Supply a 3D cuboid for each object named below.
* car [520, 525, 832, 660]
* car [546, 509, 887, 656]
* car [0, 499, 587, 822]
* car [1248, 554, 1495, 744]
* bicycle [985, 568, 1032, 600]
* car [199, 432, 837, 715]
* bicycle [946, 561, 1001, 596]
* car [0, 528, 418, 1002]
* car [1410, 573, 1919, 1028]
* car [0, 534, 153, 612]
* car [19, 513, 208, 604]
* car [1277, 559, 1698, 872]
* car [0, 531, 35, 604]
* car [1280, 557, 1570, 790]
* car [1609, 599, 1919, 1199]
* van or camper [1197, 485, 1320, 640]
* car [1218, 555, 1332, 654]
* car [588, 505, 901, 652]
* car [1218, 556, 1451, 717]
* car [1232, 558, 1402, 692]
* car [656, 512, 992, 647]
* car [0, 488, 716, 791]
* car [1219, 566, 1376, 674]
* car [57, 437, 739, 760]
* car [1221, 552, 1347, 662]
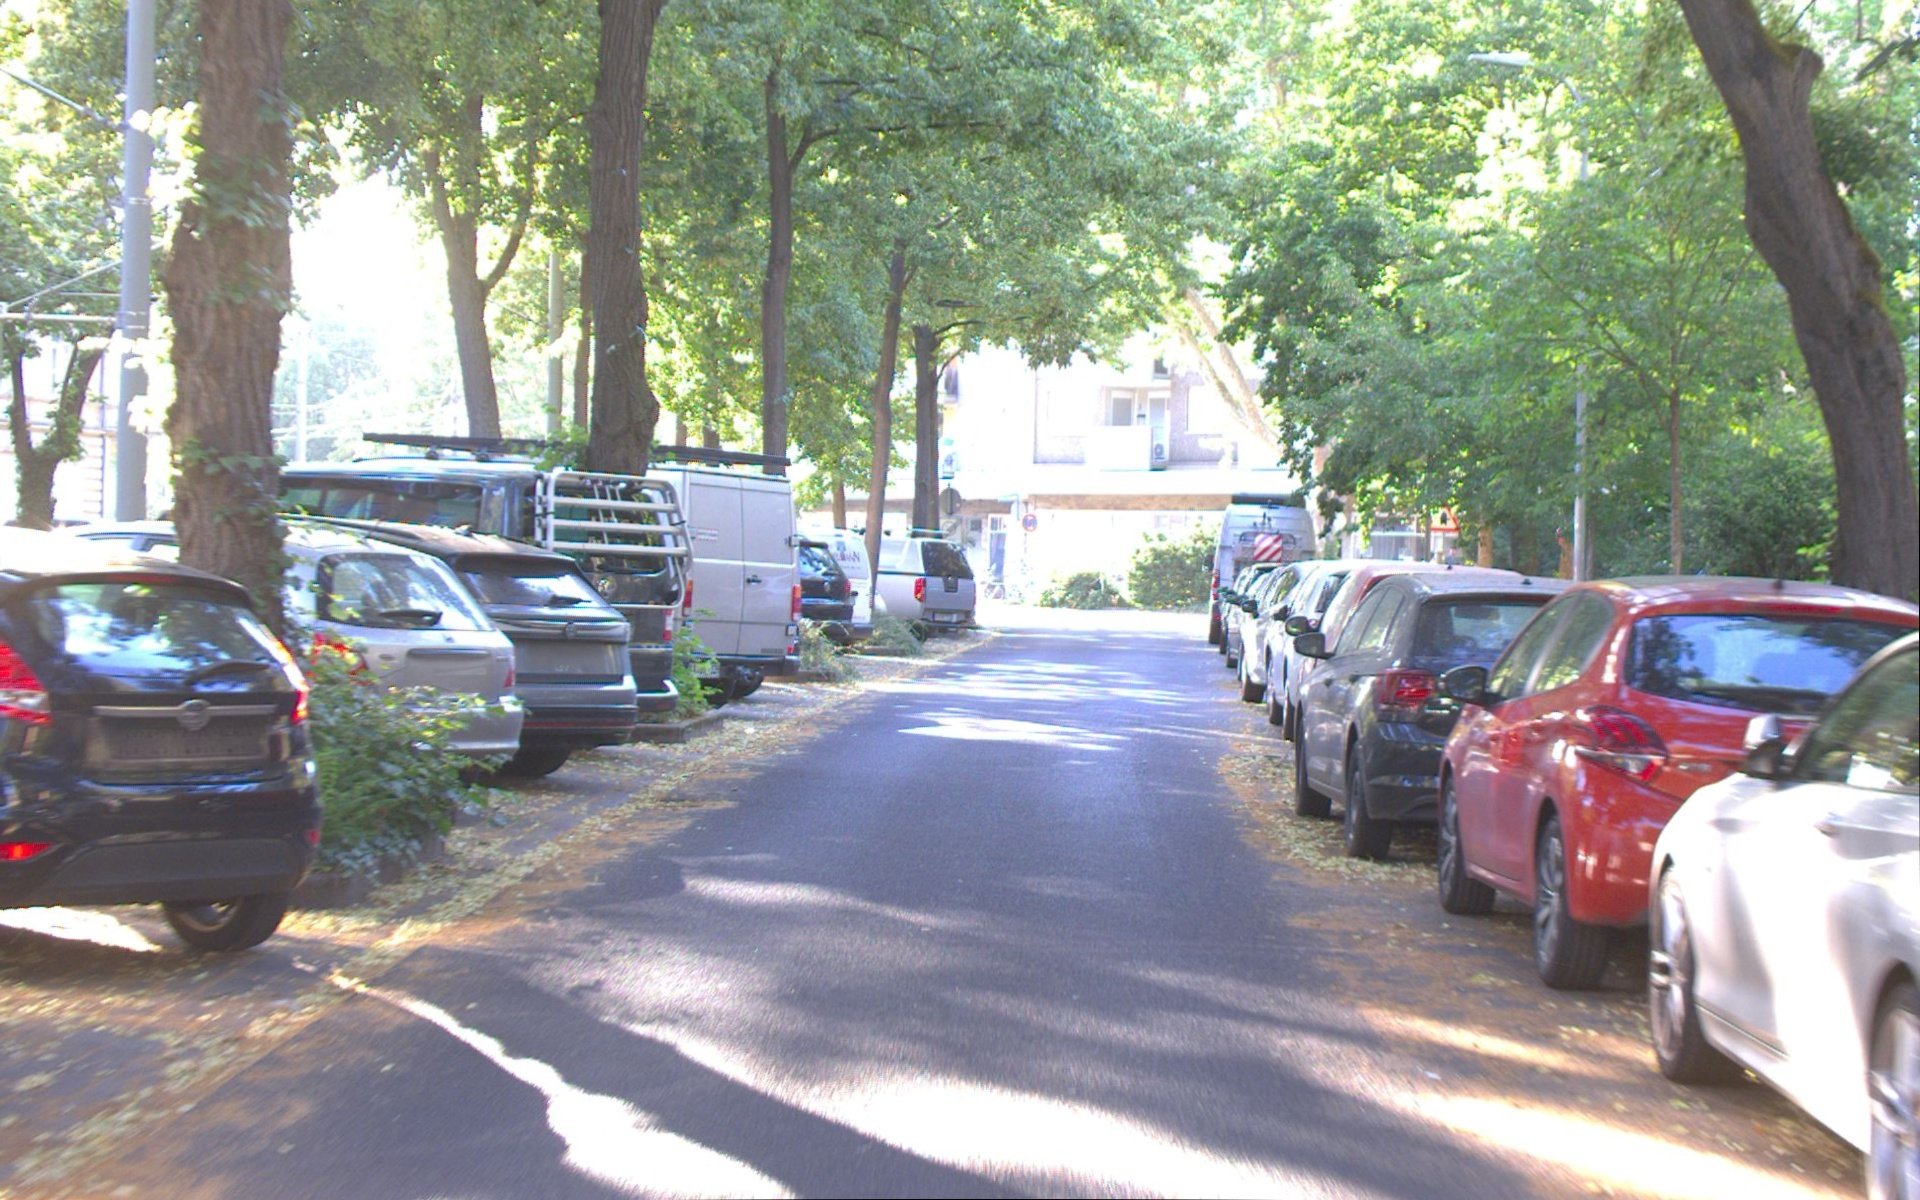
[{"bbox_3d":[-3.570,-0.099,43.104,3.423,1.421,1.830,5,1,34],"label":"car"},{"bbox_3d":[-3.264,-0.242,45.826,4.156,1.638,1.911,5,1,35],"label":"car"},{"bbox_3d":[-4.273,0.263,19.140,4.089,1.483,1.780,5,1,33],"label":"car"},{"bbox_3d":[3.393,0.357,28.949,1.680,1.449,4.076,1,1,2],"label":"car"},{"bbox_3d":[1.450,-0.482,102.786,0.542,0.901,1.736,1,1,-32],"label":"bicycle"},{"bbox_3d":[-4.032,-0.266,30.938,5.507,2.130,2.077,5,1,32],"label":"car"},{"bbox_3d":[0.407,-0.653,104.424,0.638,1.019,2.088,1,1,-31],"label":"bicycle"},{"bbox_3d":[-4.016,0.431,12.423,3.821,1.434,1.821,5,1,36],"label":"car"},{"bbox_3d":[2.827,0.650,13.297,1.672,1.449,3.949,1,1,1],"label":"car"},{"bbox_3d":[-19.468,-0.606,74.712,3.645,1.634,1.658,1,1,32],"label":"car"},{"bbox_3d":[-19.201,-0.946,77.964,3.995,2.007,1.996,1,1,34],"label":"car"},{"bbox_3d":[2.705,0.528,18.420,1.672,1.449,3.949,1,1,1],"label":"car"},{"bbox_3d":[-19.611,-0.647,65.354,3.732,1.376,1.724,1,1,27],"label":"car"},{"bbox_3d":[3.132,0.445,23.722,1.591,1.449,3.555,1,1,2],"label":"car"},{"bbox_3d":[2.794,0.760,8.400,1.672,1.393,4.299,3,1,2],"label":"car"},{"bbox_3d":[5.608,-0.722,65.186,2.084,2.753,5.845,1,1,3],"label":"van or camper"},{"bbox_3d":[5.144,0.036,56.568,1.680,1.520,4.489,1,1,3],"label":"car"},{"bbox_3d":[-3.100,-0.318,49.043,4.157,1.775,1.879,5,1,39],"label":"car"},{"bbox_3d":[3.625,0.311,33.919,1.680,1.449,4.076,1,1,-2],"label":"car"},{"bbox_3d":[4.086,0.244,39.922,1.680,1.419,4.658,1,1,3],"label":"car"},{"bbox_3d":[-2.192,-0.333,54.914,4.995,1.775,1.984,5,1,31],"label":"car"},{"bbox_3d":[-3.973,0.207,21.824,4.566,1.535,1.930,5,1,35],"label":"car"},{"bbox_3d":[4.348,0.228,44.797,1.680,1.279,4.287,1,1,1],"label":"car"},{"bbox_3d":[-4.077,-0.046,24.589,4.708,1.936,1.930,5,1,35],"label":"car"},{"bbox_3d":[4.793,0.072,51.286,1.680,1.520,4.287,1,1,3],"label":"car"}]
